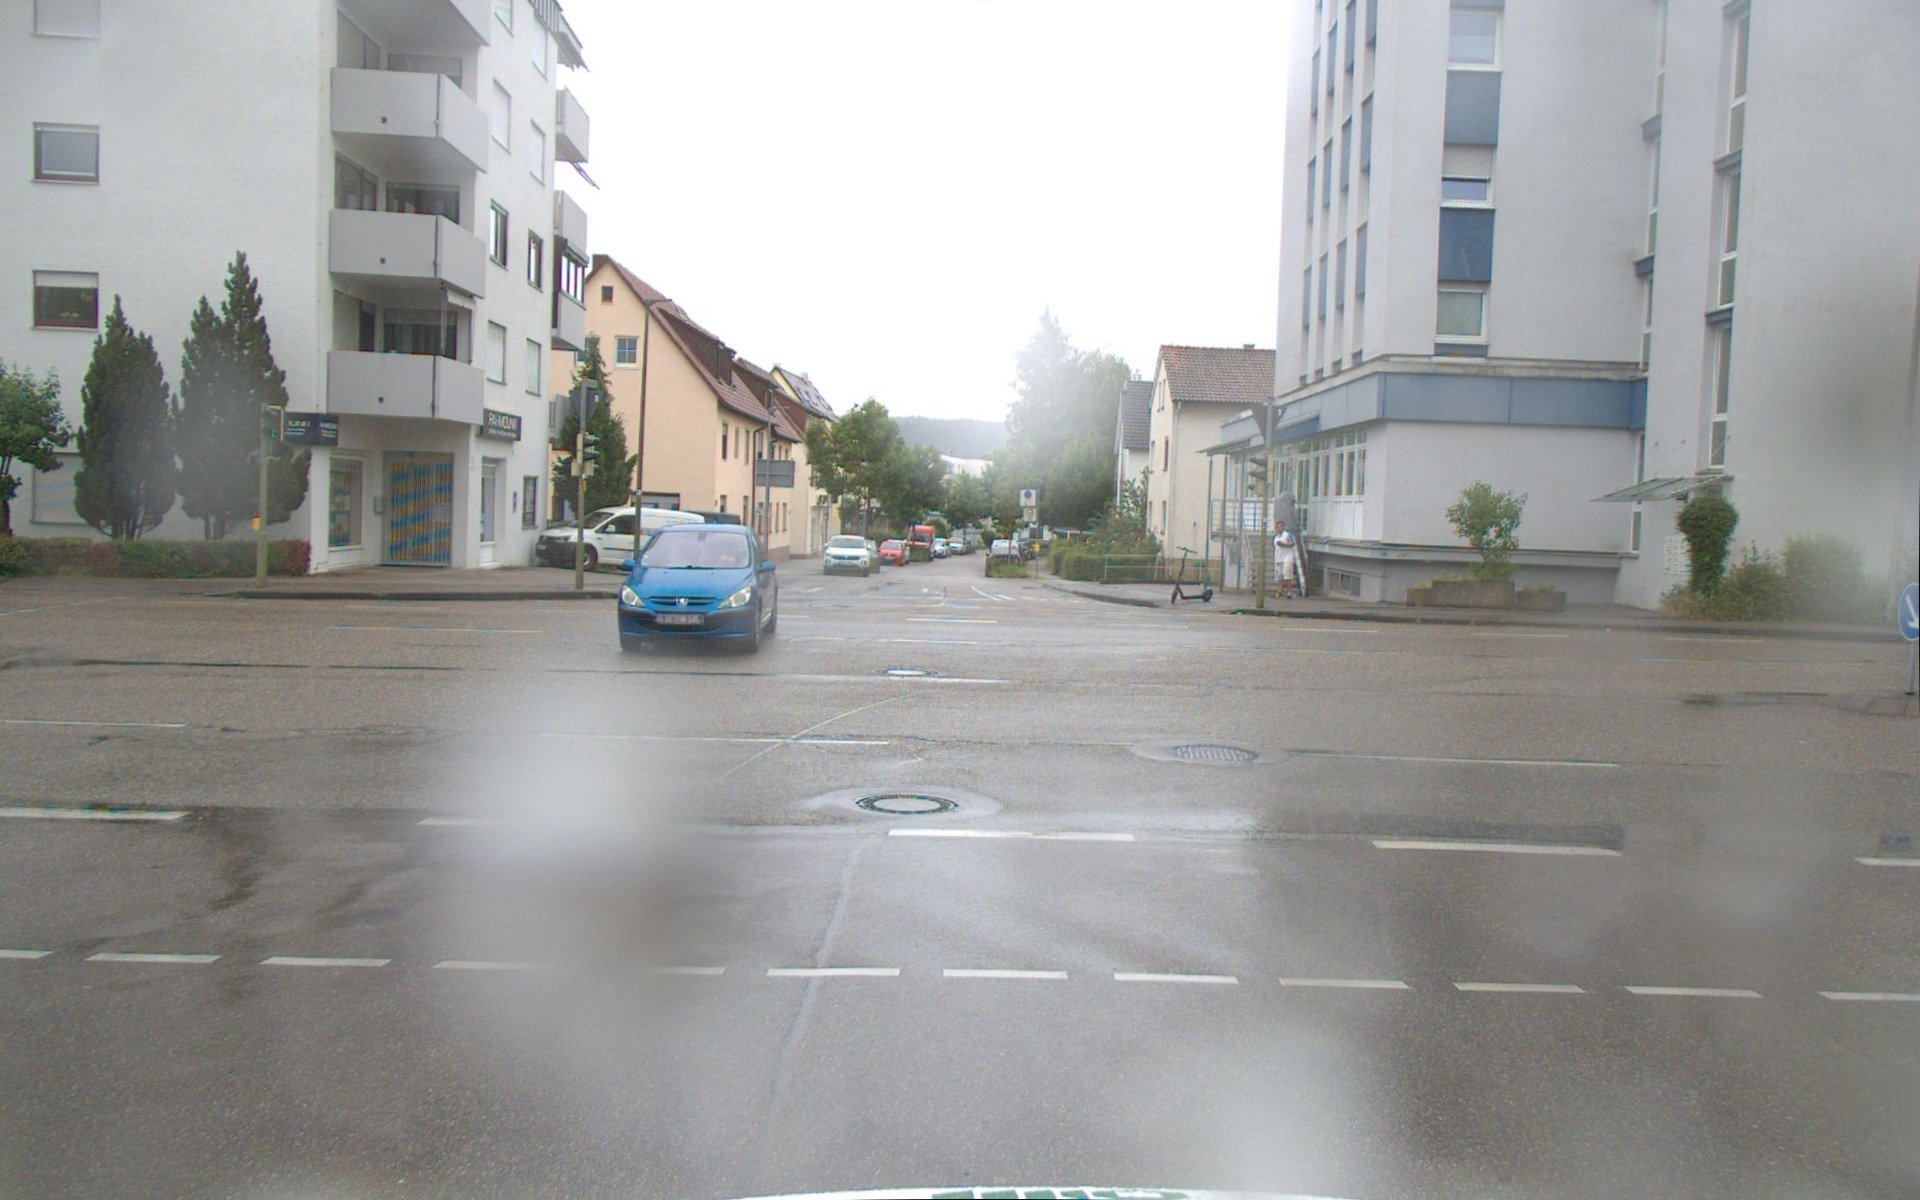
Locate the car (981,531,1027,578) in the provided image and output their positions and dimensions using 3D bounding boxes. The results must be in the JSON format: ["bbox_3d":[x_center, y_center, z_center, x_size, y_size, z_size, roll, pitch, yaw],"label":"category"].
[{"bbox_3d":[2.137,-2.138,78.995,1.951,2.049,4.002,1,-1,4],"label":"car"}]

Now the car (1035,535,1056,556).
[{"bbox_3d":[8.256,-5.260,159.762,1.951,2.048,4.003,1,1,4],"label":"car"}]

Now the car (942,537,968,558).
[{"bbox_3d":[-0.407,-4.829,151.916,1.951,1.736,4.002,1,-1,6],"label":"car"}]

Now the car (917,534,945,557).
[{"bbox_3d":[-2.354,-4.483,136.358,1.951,1.713,4.002,1,-1,4],"label":"car"}]

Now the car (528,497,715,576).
[{"bbox_3d":[-9.183,-1.691,45.074,4.684,1.809,1.748,3,-1,-40],"label":"car"}]

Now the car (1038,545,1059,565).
[{"bbox_3d":[9.038,-4.557,168.418,1.951,2.048,4.003,1,1,4],"label":"car"}]

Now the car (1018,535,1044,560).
[{"bbox_3d":[5.846,-4.311,135.720,1.951,2.048,4.003,1,1,4],"label":"car"}]

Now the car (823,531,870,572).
[{"bbox_3d":[-4.467,-1.901,65.411,1.732,1.549,3.999,0,1,-2],"label":"car"}]

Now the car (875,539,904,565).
[{"bbox_3d":[-4.350,-2.974,101.997,1.732,1.545,3.998,0,1,-3],"label":"car"}]

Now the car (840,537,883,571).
[{"bbox_3d":[-4.561,-2.147,76.973,1.731,1.545,4.194,1,1,0],"label":"car"}]

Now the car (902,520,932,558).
[{"bbox_3d":[-3.215,-4.557,124.863,2.171,2.816,5.724,0,1,-1],"label":"car"}]

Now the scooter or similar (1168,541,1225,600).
[{"bbox_3d":[5.172,-0.634,36.236,1.039,1.249,0.800,1,-1,-10],"label":"scooter or similar"}]

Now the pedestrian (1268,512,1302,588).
[{"bbox_3d":[7.343,-1.122,37.392,0.641,1.680,0.646,1,-1,0],"label":"pedestrian"}]

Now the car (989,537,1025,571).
[{"bbox_3d":[2.888,-2.803,101.088,1.951,2.048,4.003,1,1,4],"label":"car"}]

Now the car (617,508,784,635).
[{"bbox_3d":[-3.272,-0.321,21.500,1.732,1.471,3.997,1,-1,-3],"label":"car"}]
